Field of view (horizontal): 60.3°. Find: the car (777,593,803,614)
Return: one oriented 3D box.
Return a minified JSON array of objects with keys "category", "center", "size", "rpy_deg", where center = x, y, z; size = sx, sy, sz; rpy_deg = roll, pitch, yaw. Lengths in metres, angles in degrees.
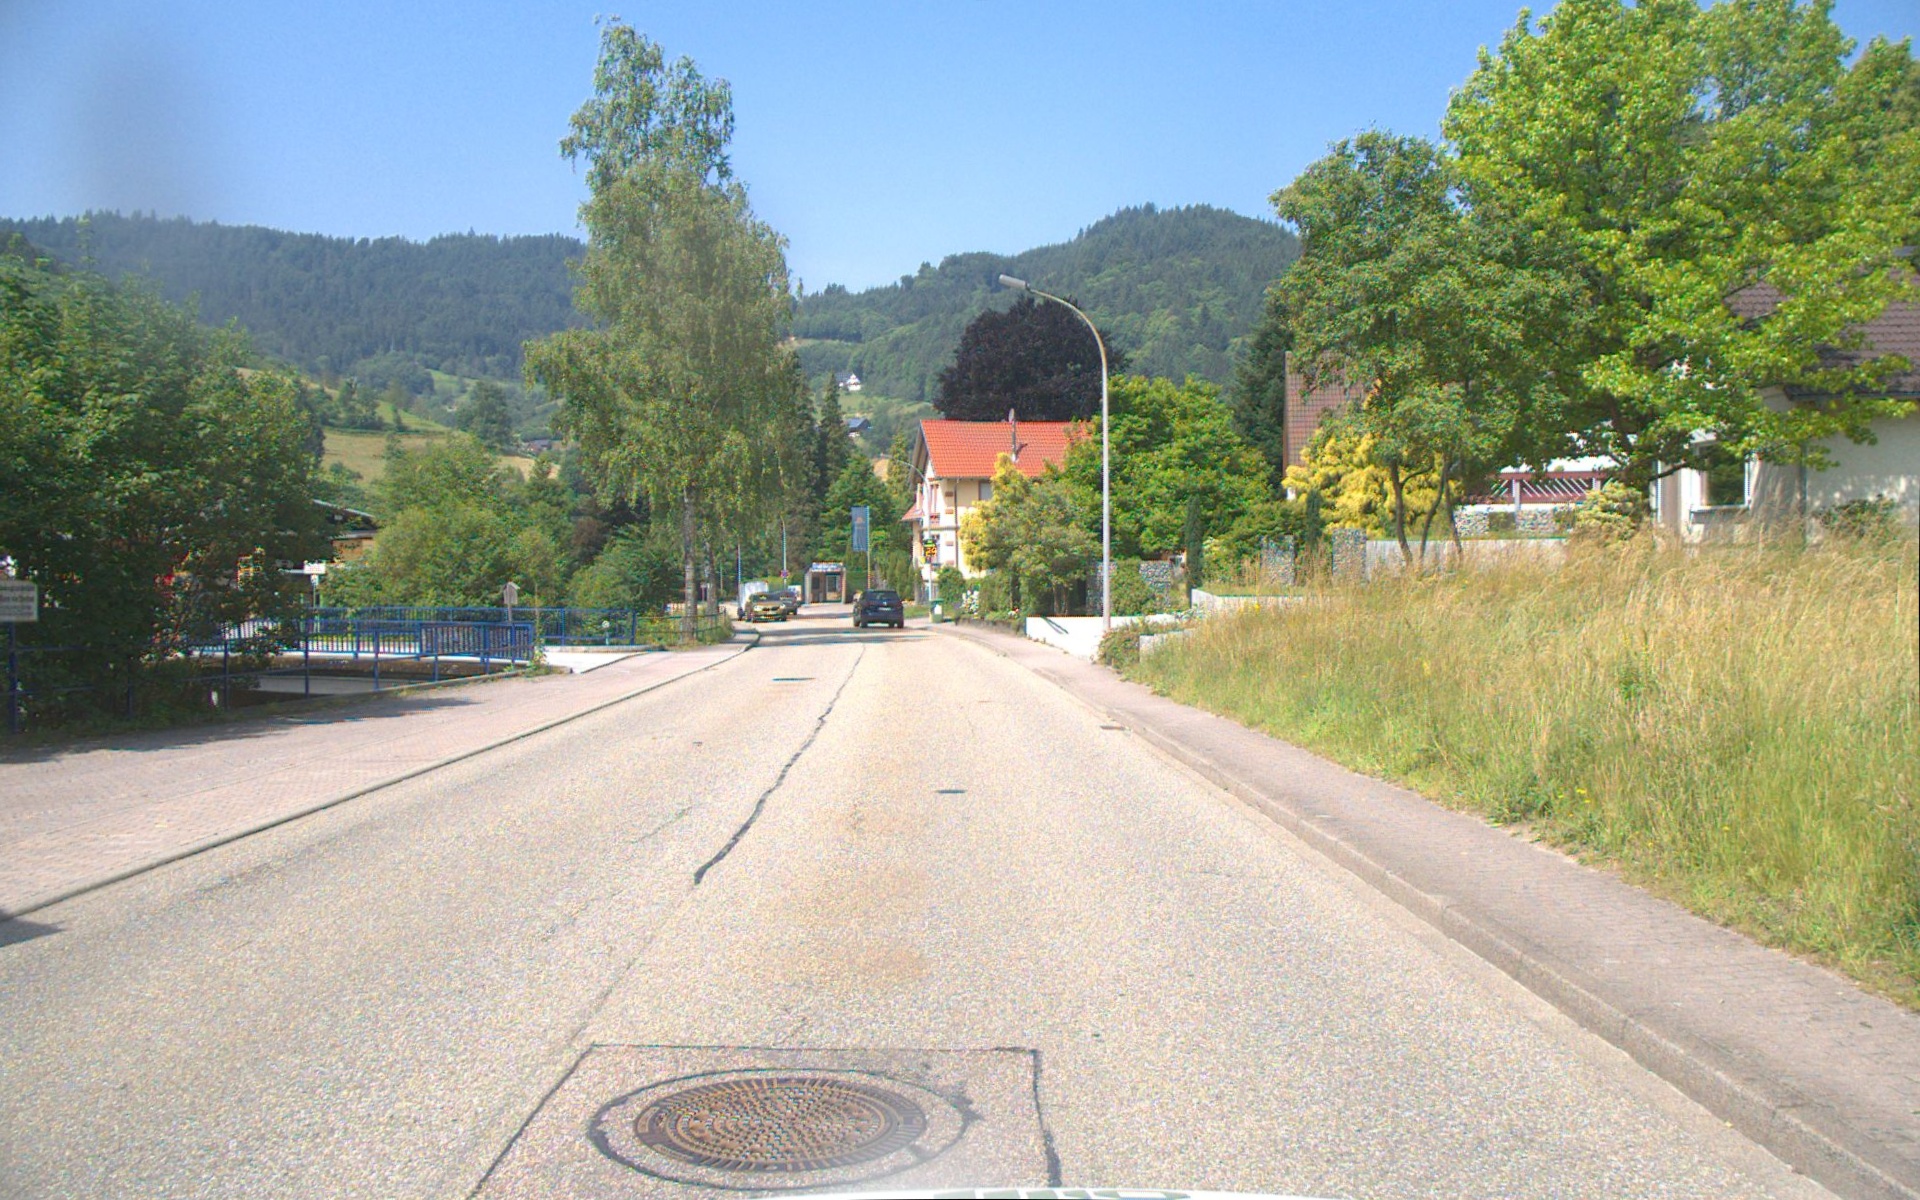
[{"category":"car","center":[-10.604,0.216,103.352],"size":[1.447,1.230,2.383],"rpy_deg":[-2,1,-2]}]

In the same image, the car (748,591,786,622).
[{"category":"car","center":[-10.114,0.300,86.848],"size":[1.778,1.526,4.146],"rpy_deg":[-2,0,-4]}]

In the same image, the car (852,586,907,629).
[{"category":"car","center":[-3.470,0.312,70.745],"size":[1.885,1.728,3.779],"rpy_deg":[-2,0,-10]}]

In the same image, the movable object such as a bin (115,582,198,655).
[{"category":"movable object such as a bin","center":[-23.906,0.551,49.214],"size":[2.077,2.108,1.135],"rpy_deg":[-1,0,26]}]

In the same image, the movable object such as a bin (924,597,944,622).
[{"category":"movable object such as a bin","center":[-1.167,0.429,74.905],"size":[0.794,1.060,0.577],"rpy_deg":[-2,1,-10]}]

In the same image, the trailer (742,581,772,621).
[{"category":"trailer","center":[-11.170,0.053,91.127],"size":[1.438,2.114,3.667],"rpy_deg":[-2,0,-4]}]
